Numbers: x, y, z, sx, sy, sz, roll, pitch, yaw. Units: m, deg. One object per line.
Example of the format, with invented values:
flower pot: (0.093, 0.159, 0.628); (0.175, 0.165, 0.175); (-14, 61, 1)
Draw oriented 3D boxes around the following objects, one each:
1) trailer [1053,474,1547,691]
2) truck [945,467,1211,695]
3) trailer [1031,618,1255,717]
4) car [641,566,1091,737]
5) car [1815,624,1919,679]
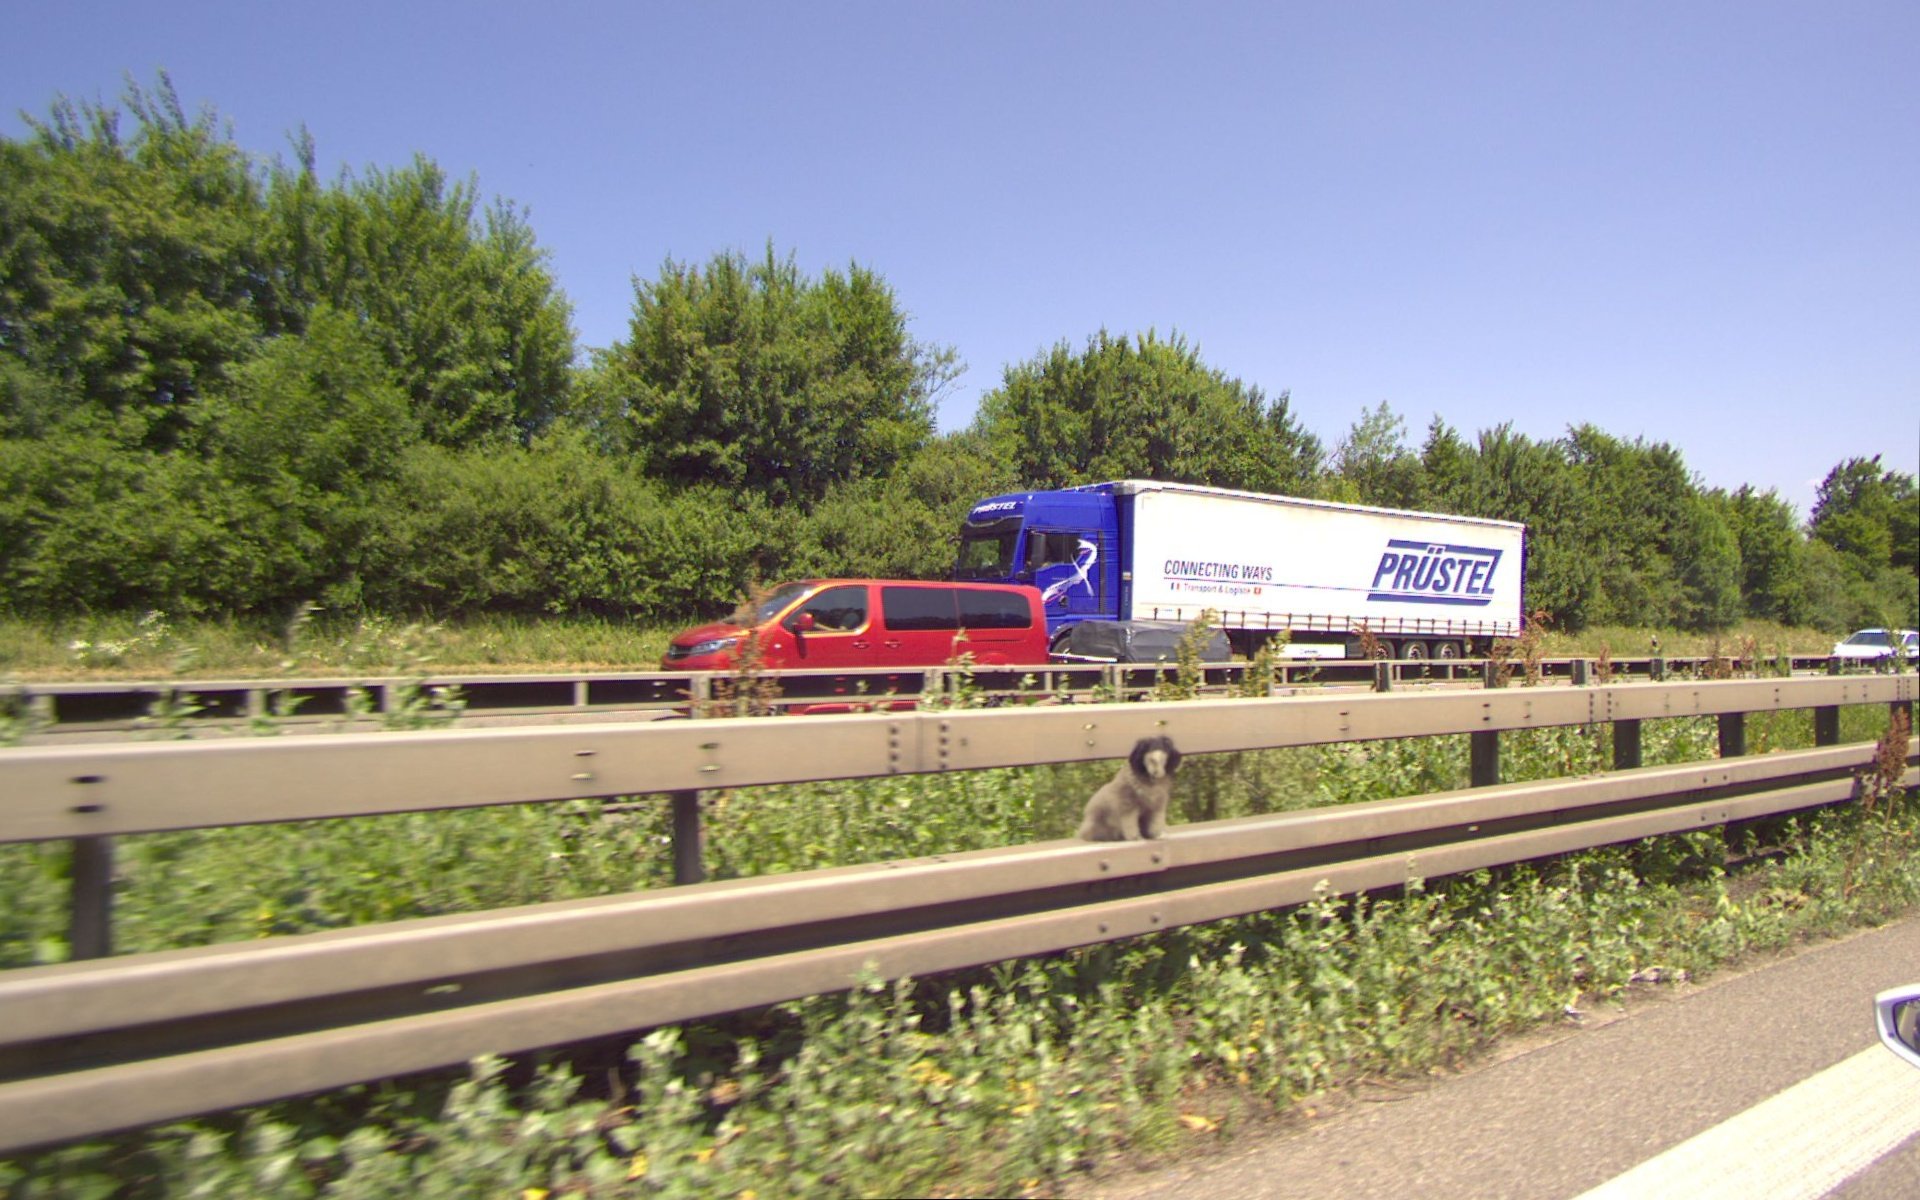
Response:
trailer: (8.963, -0.343, 24.684); (14.501, 4.311, 2.622); (0, 1, -30)
truck: (2.460, -0.354, 20.793); (5.023, 4.174, 2.481); (0, 1, -30)
trailer: (2.878, 0.985, 15.728); (3.219, 1.339, 1.586); (0, 1, -30)
car: (-1.115, 0.605, 13.423); (5.755, 1.905, 1.852); (1, 0, -30)
car: (27.275, 1.485, 29.790); (4.306, 1.482, 1.573); (1, 0, -30)
